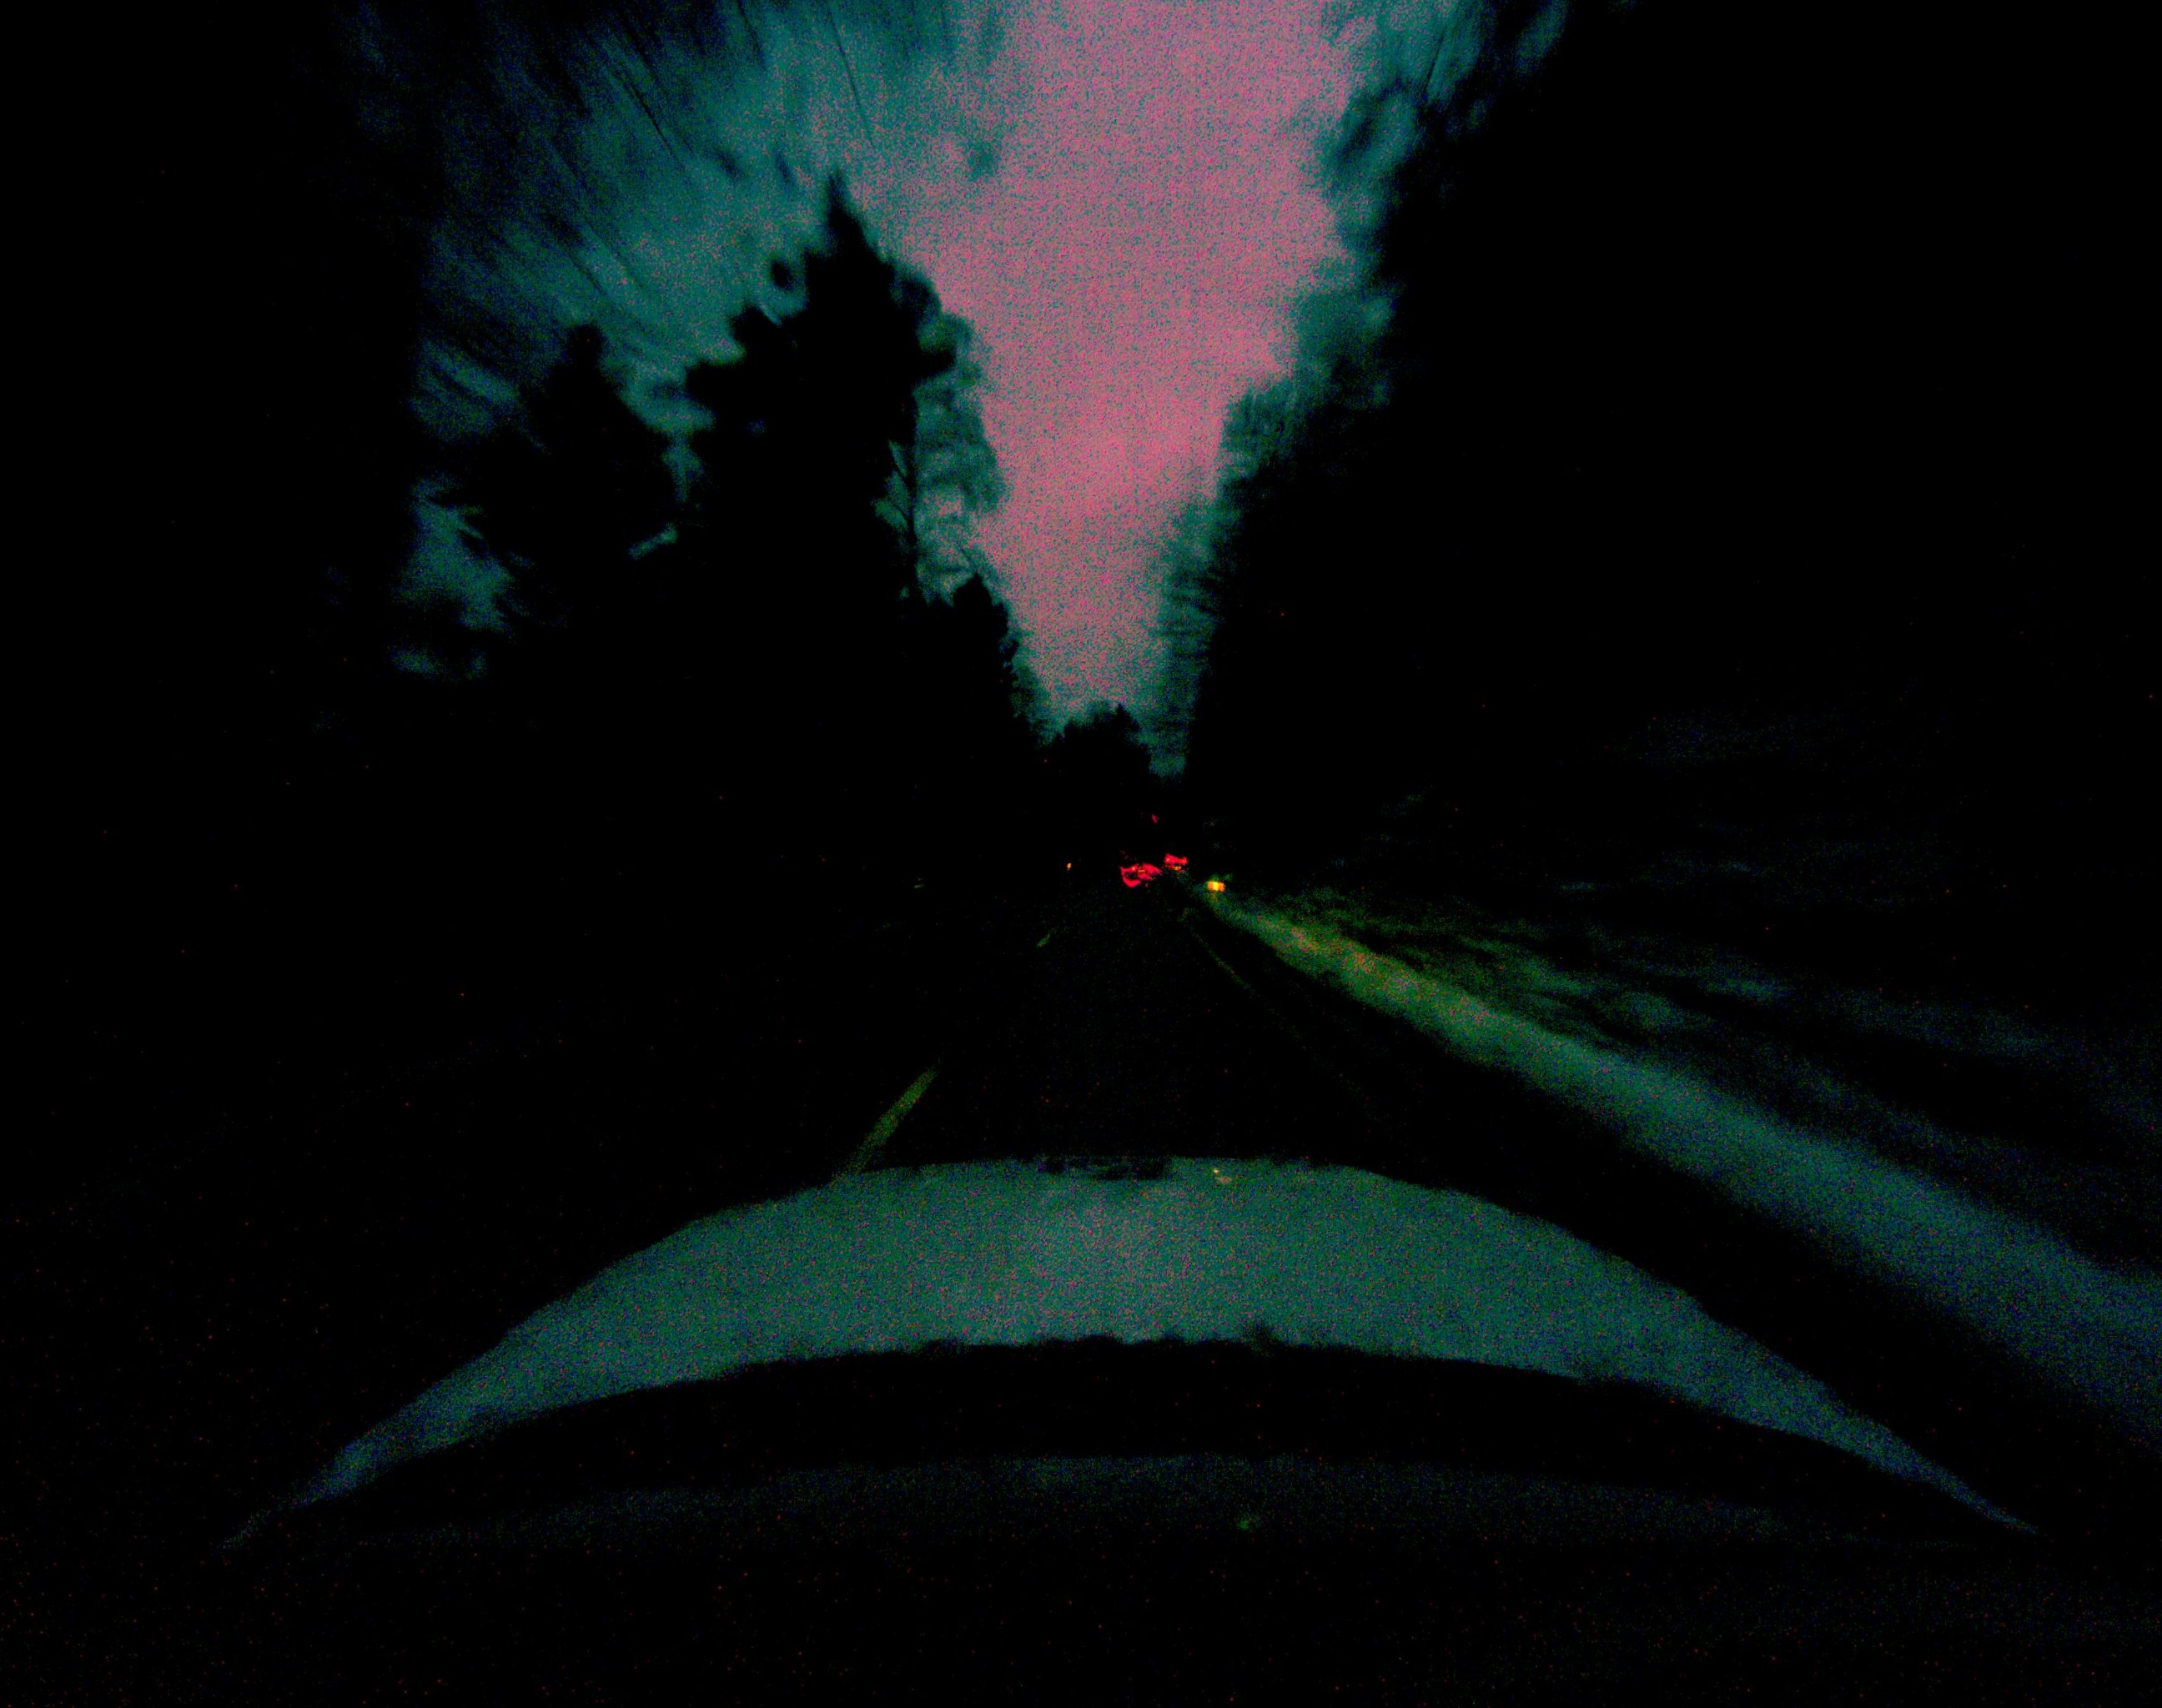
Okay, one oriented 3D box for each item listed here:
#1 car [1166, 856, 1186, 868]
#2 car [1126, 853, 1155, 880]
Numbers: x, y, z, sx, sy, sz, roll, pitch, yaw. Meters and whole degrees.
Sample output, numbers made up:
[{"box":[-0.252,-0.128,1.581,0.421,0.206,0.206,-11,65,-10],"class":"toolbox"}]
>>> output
[{"box":[11.722,0.949,100.648,1.980,1.310,4.013,-4,0,12],"class":"car"},{"box":[4.652,0.940,63.720,1.983,1.872,4.007,-4,0,6],"class":"car"}]
